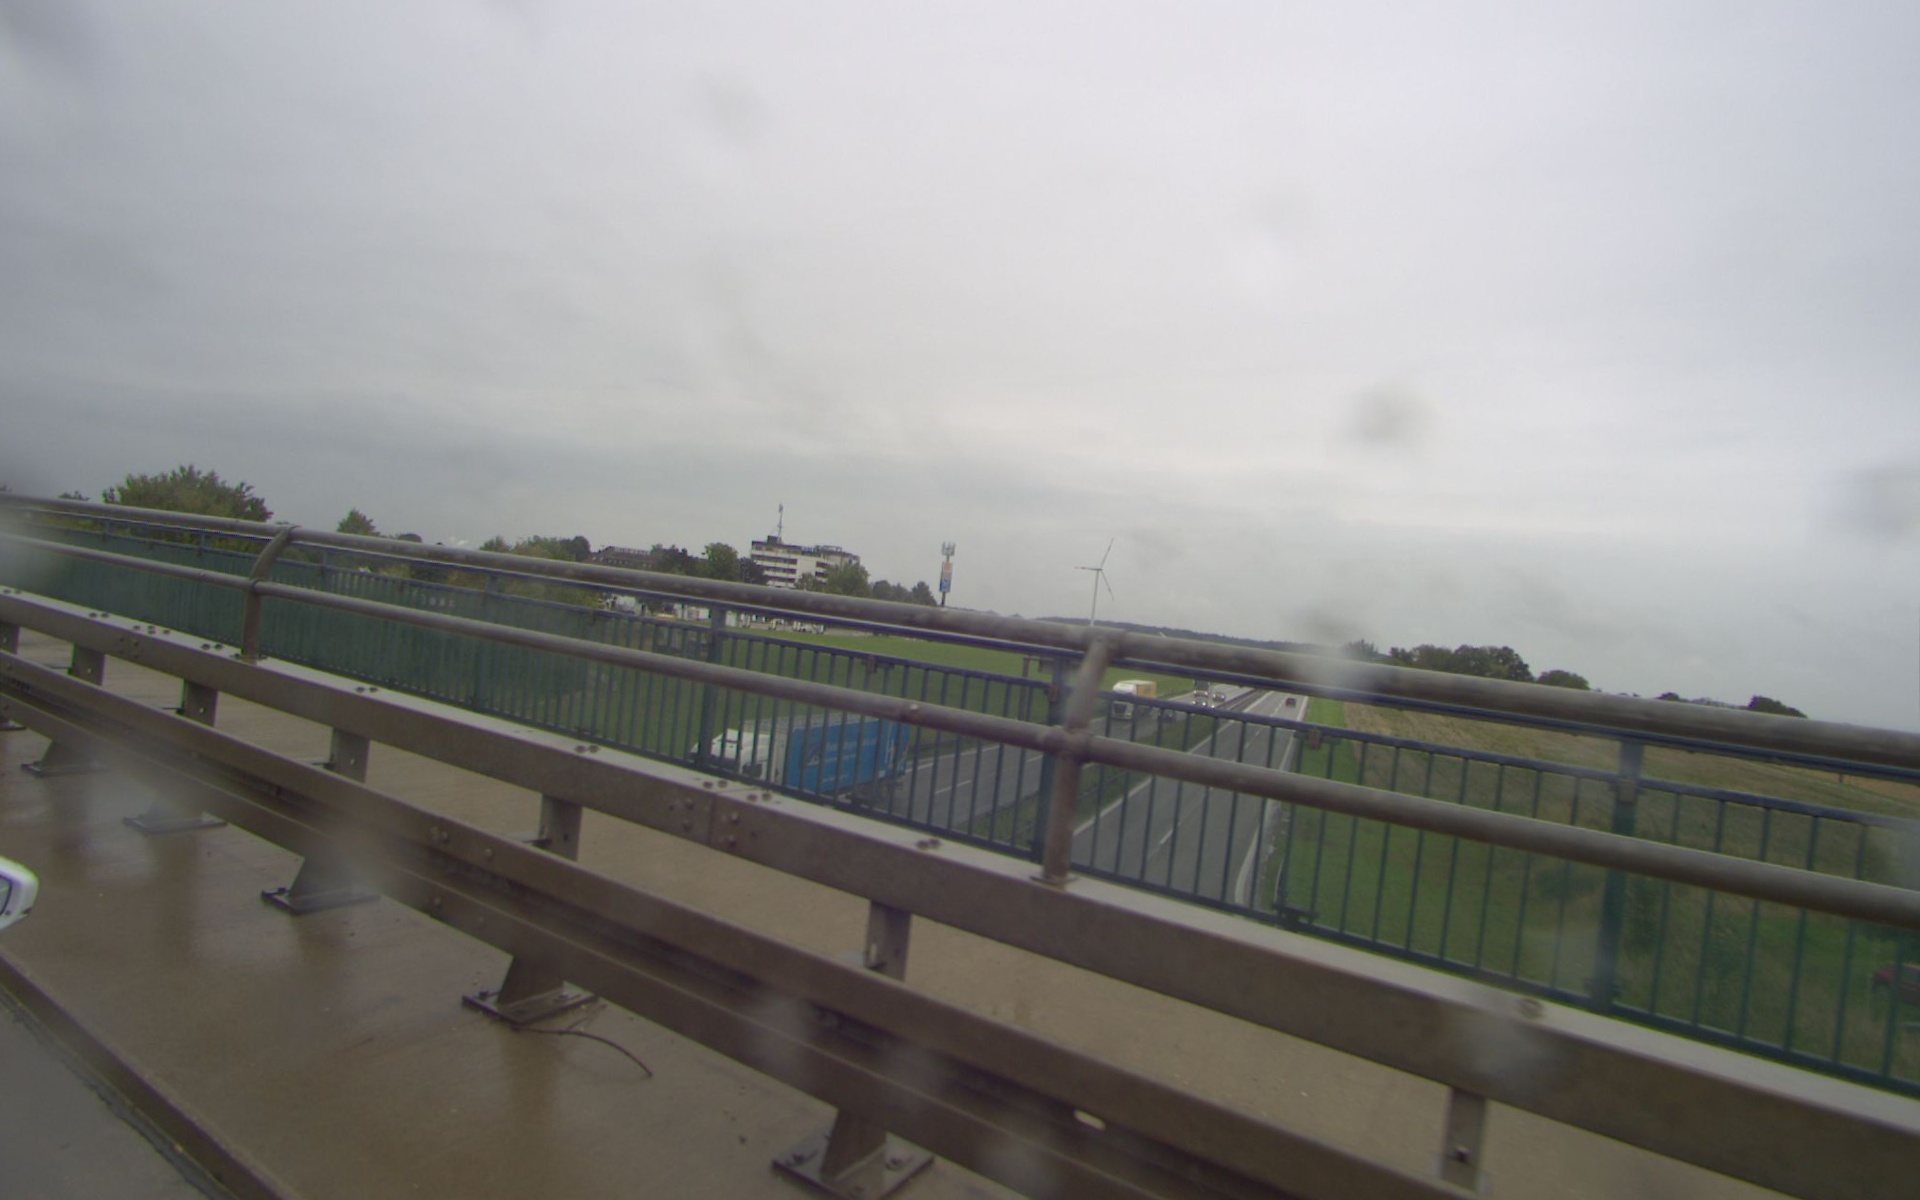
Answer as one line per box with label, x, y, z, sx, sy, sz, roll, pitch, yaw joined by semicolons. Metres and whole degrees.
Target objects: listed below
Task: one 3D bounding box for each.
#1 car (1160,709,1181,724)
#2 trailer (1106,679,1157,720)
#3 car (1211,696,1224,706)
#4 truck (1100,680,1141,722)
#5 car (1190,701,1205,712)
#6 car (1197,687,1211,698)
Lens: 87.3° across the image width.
car;24.579;13.592;117.471;1.646;1.366;4.004;7;-3;20
trailer;20.118;11.438;117.130;2.828;4.015;14.026;7;-1;20
car;44.055;17.186;172.047;1.646;1.367;4.001;7;-1;21
truck;17.646;10.988;110.259;2.828;4.015;6.822;7;-1;20
car;35.482;15.862;149.963;1.646;1.367;4.002;7;-1;19
car;43.780;16.575;180.200;1.962;1.783;4.006;7;-3;19
